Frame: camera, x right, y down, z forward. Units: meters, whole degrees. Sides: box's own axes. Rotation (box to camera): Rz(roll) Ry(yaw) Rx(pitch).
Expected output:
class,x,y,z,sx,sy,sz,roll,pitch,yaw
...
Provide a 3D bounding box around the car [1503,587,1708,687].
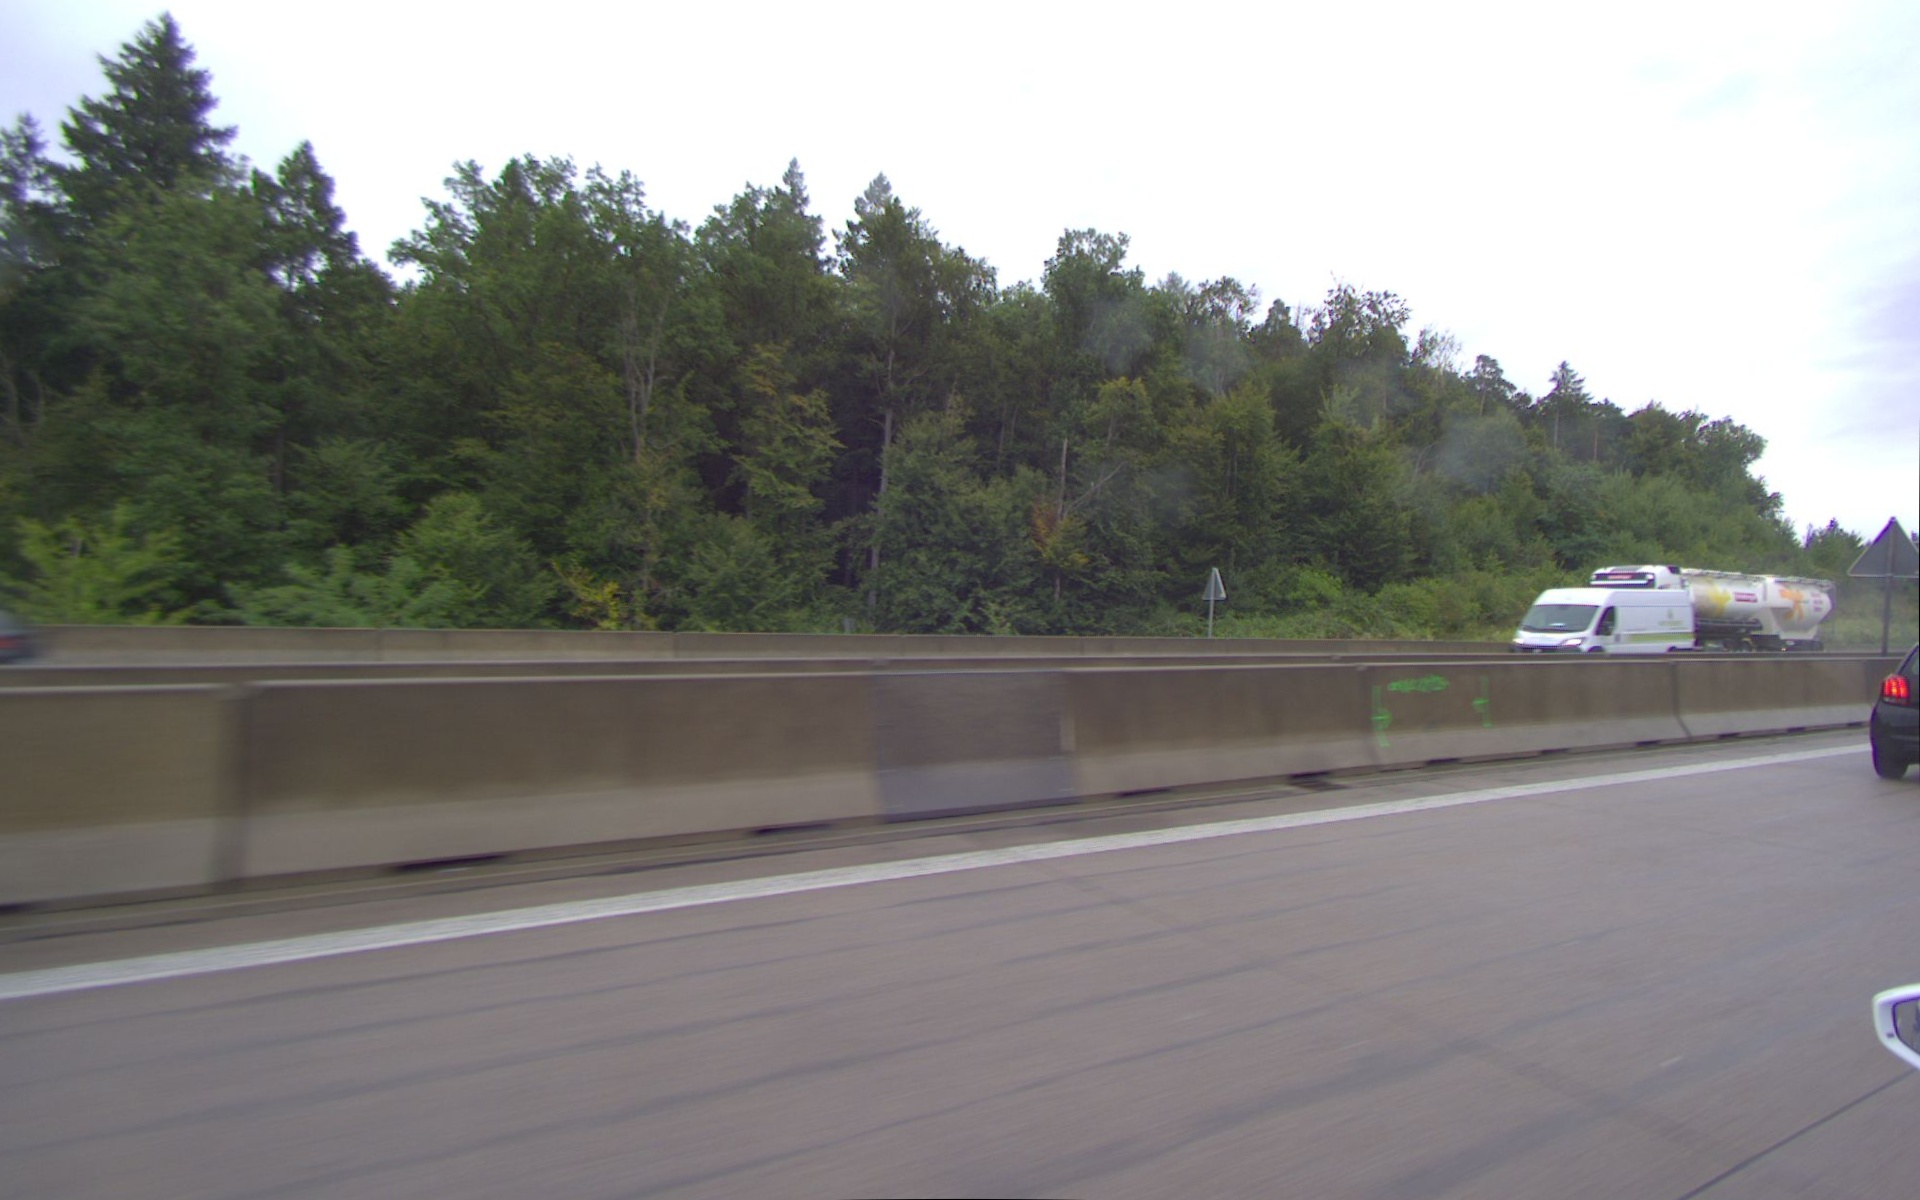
class,x,y,z,sx,sy,sz,roll,pitch,yaw
car,17.811,0.988,27.586,6.668,2.481,1.983,1,0,-31

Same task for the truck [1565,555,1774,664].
class,x,y,z,sx,sy,sz,roll,pitch,yaw
truck,27.012,0.427,38.004,10.372,3.716,2.551,1,0,-31

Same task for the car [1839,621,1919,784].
class,x,y,z,sx,sy,sz,roll,pitch,yaw
car,10.516,0.999,10.166,3.649,1.482,1.672,1,1,-37

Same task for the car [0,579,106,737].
class,x,y,z,sx,sy,sz,roll,pitch,yaw
car,-11.482,0.530,9.765,4.588,1.574,1.600,1,0,-30

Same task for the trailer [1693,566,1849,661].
class,x,y,z,sx,sy,sz,roll,pitch,yaw
trailer,34.437,0.596,42.542,8.136,3.716,2.533,1,0,-31
